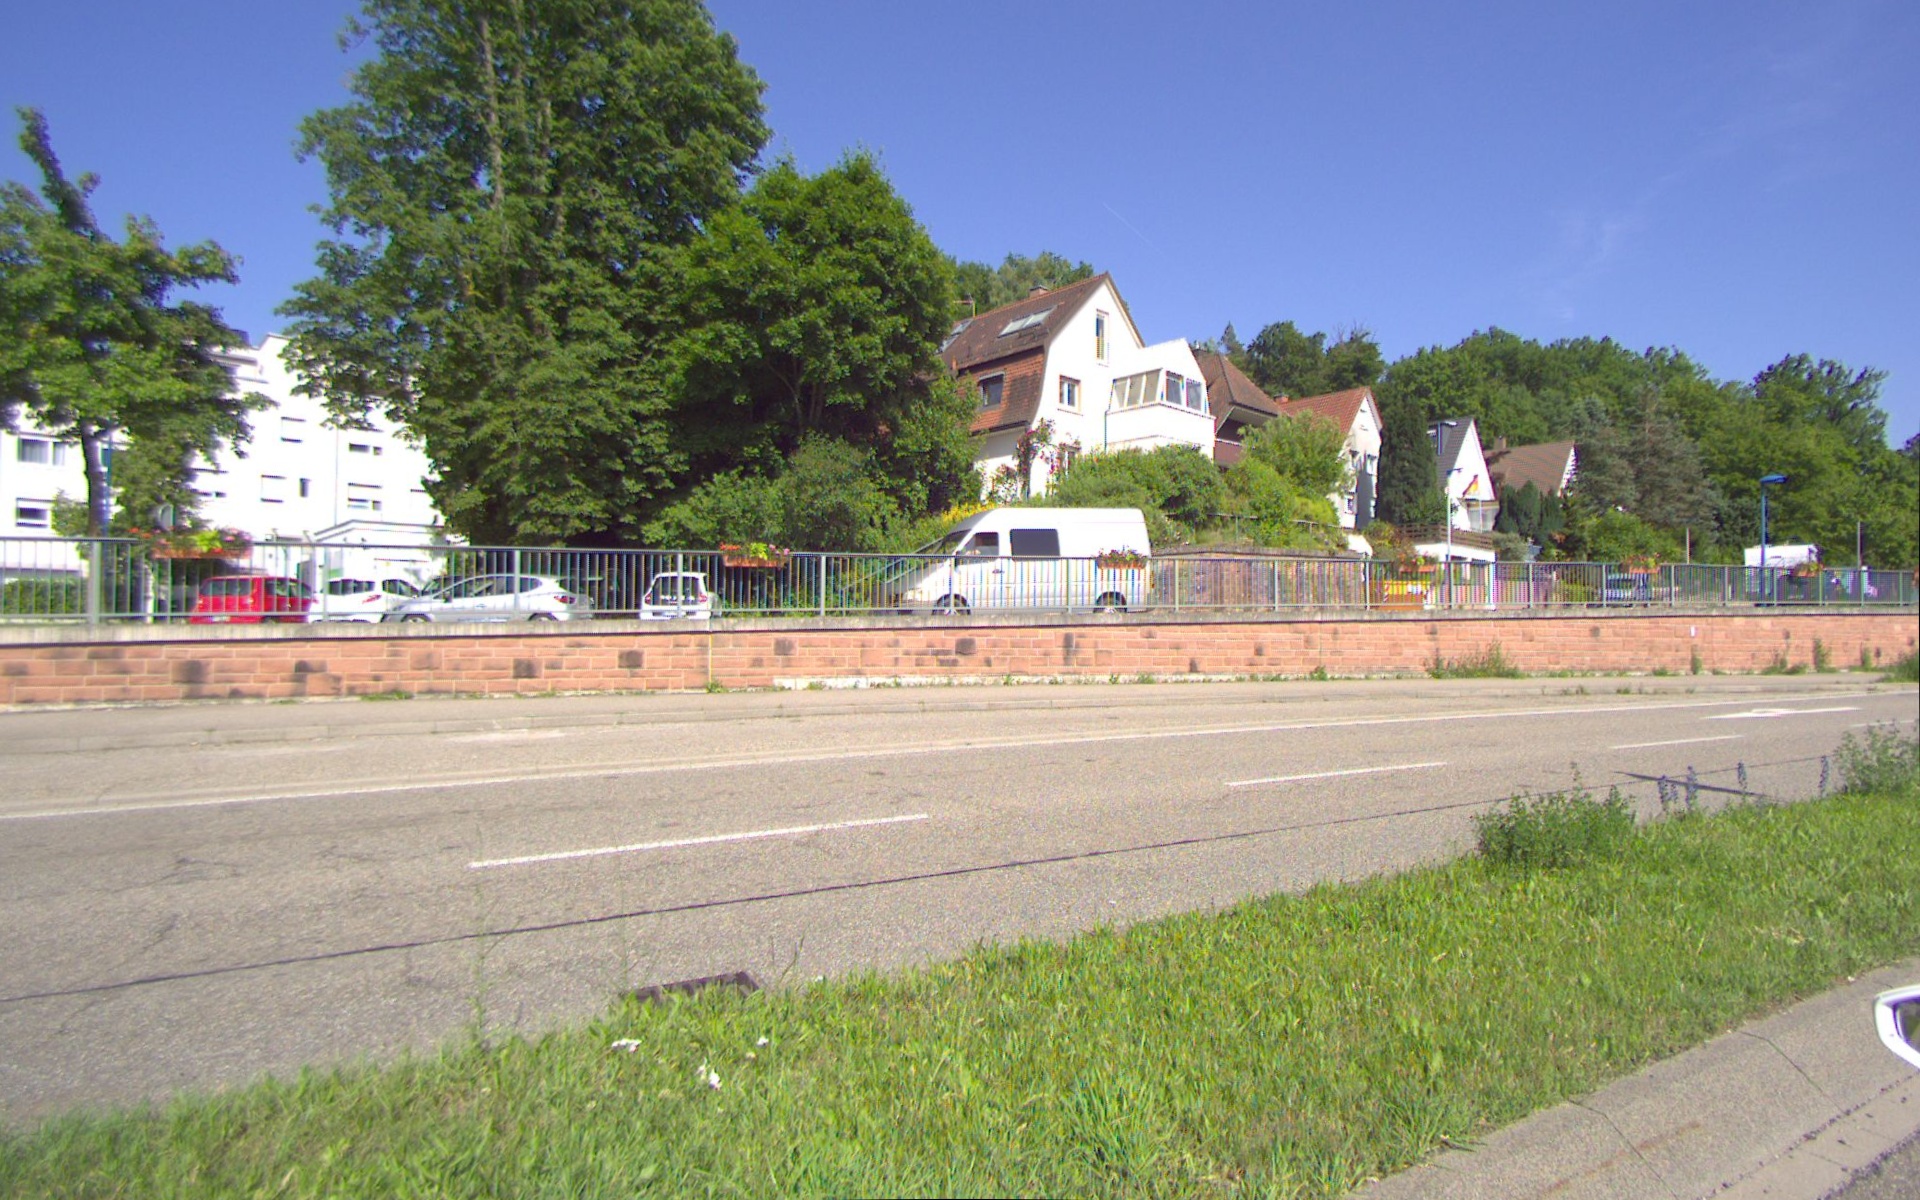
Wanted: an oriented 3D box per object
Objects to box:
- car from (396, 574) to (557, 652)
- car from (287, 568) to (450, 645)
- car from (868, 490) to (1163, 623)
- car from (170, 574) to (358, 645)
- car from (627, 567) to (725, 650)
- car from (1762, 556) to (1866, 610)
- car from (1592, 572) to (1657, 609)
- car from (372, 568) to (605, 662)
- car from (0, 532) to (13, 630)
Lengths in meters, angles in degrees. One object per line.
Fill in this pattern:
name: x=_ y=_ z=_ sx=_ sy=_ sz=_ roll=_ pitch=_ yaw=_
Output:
car: x=-11.550 y=0.236 z=24.331 sx=1.960 sy=1.694 sz=3.999 roll=1 pitch=2 yaw=0
car: x=-14.406 y=0.090 z=24.766 sx=1.877 sy=1.724 sz=3.996 roll=0 pitch=2 yaw=-5
car: x=1.148 y=-0.827 z=20.628 sx=5.698 sy=2.477 sz=2.089 roll=0 pitch=2 yaw=-21
car: x=-16.802 y=0.158 z=24.521 sx=1.877 sy=1.581 sz=3.998 roll=1 pitch=2 yaw=-2
car: x=-6.988 y=0.151 z=25.064 sx=1.879 sy=1.901 sz=3.993 roll=0 pitch=2 yaw=-9
car: x=32.699 y=-0.650 z=38.417 sx=4.686 sy=1.946 sz=2.006 roll=0 pitch=2 yaw=-37
car: x=31.596 y=-0.426 z=47.730 sx=1.875 sy=1.651 sz=3.975 roll=0 pitch=0 yaw=44
car: x=-9.735 y=0.310 z=21.003 sx=3.922 sy=1.813 sz=1.921 roll=1 pitch=0 yaw=-2
car: x=-14.553 y=-0.231 z=12.455 sx=1.877 sy=1.400 sz=3.998 roll=1 pitch=2 yaw=-2
